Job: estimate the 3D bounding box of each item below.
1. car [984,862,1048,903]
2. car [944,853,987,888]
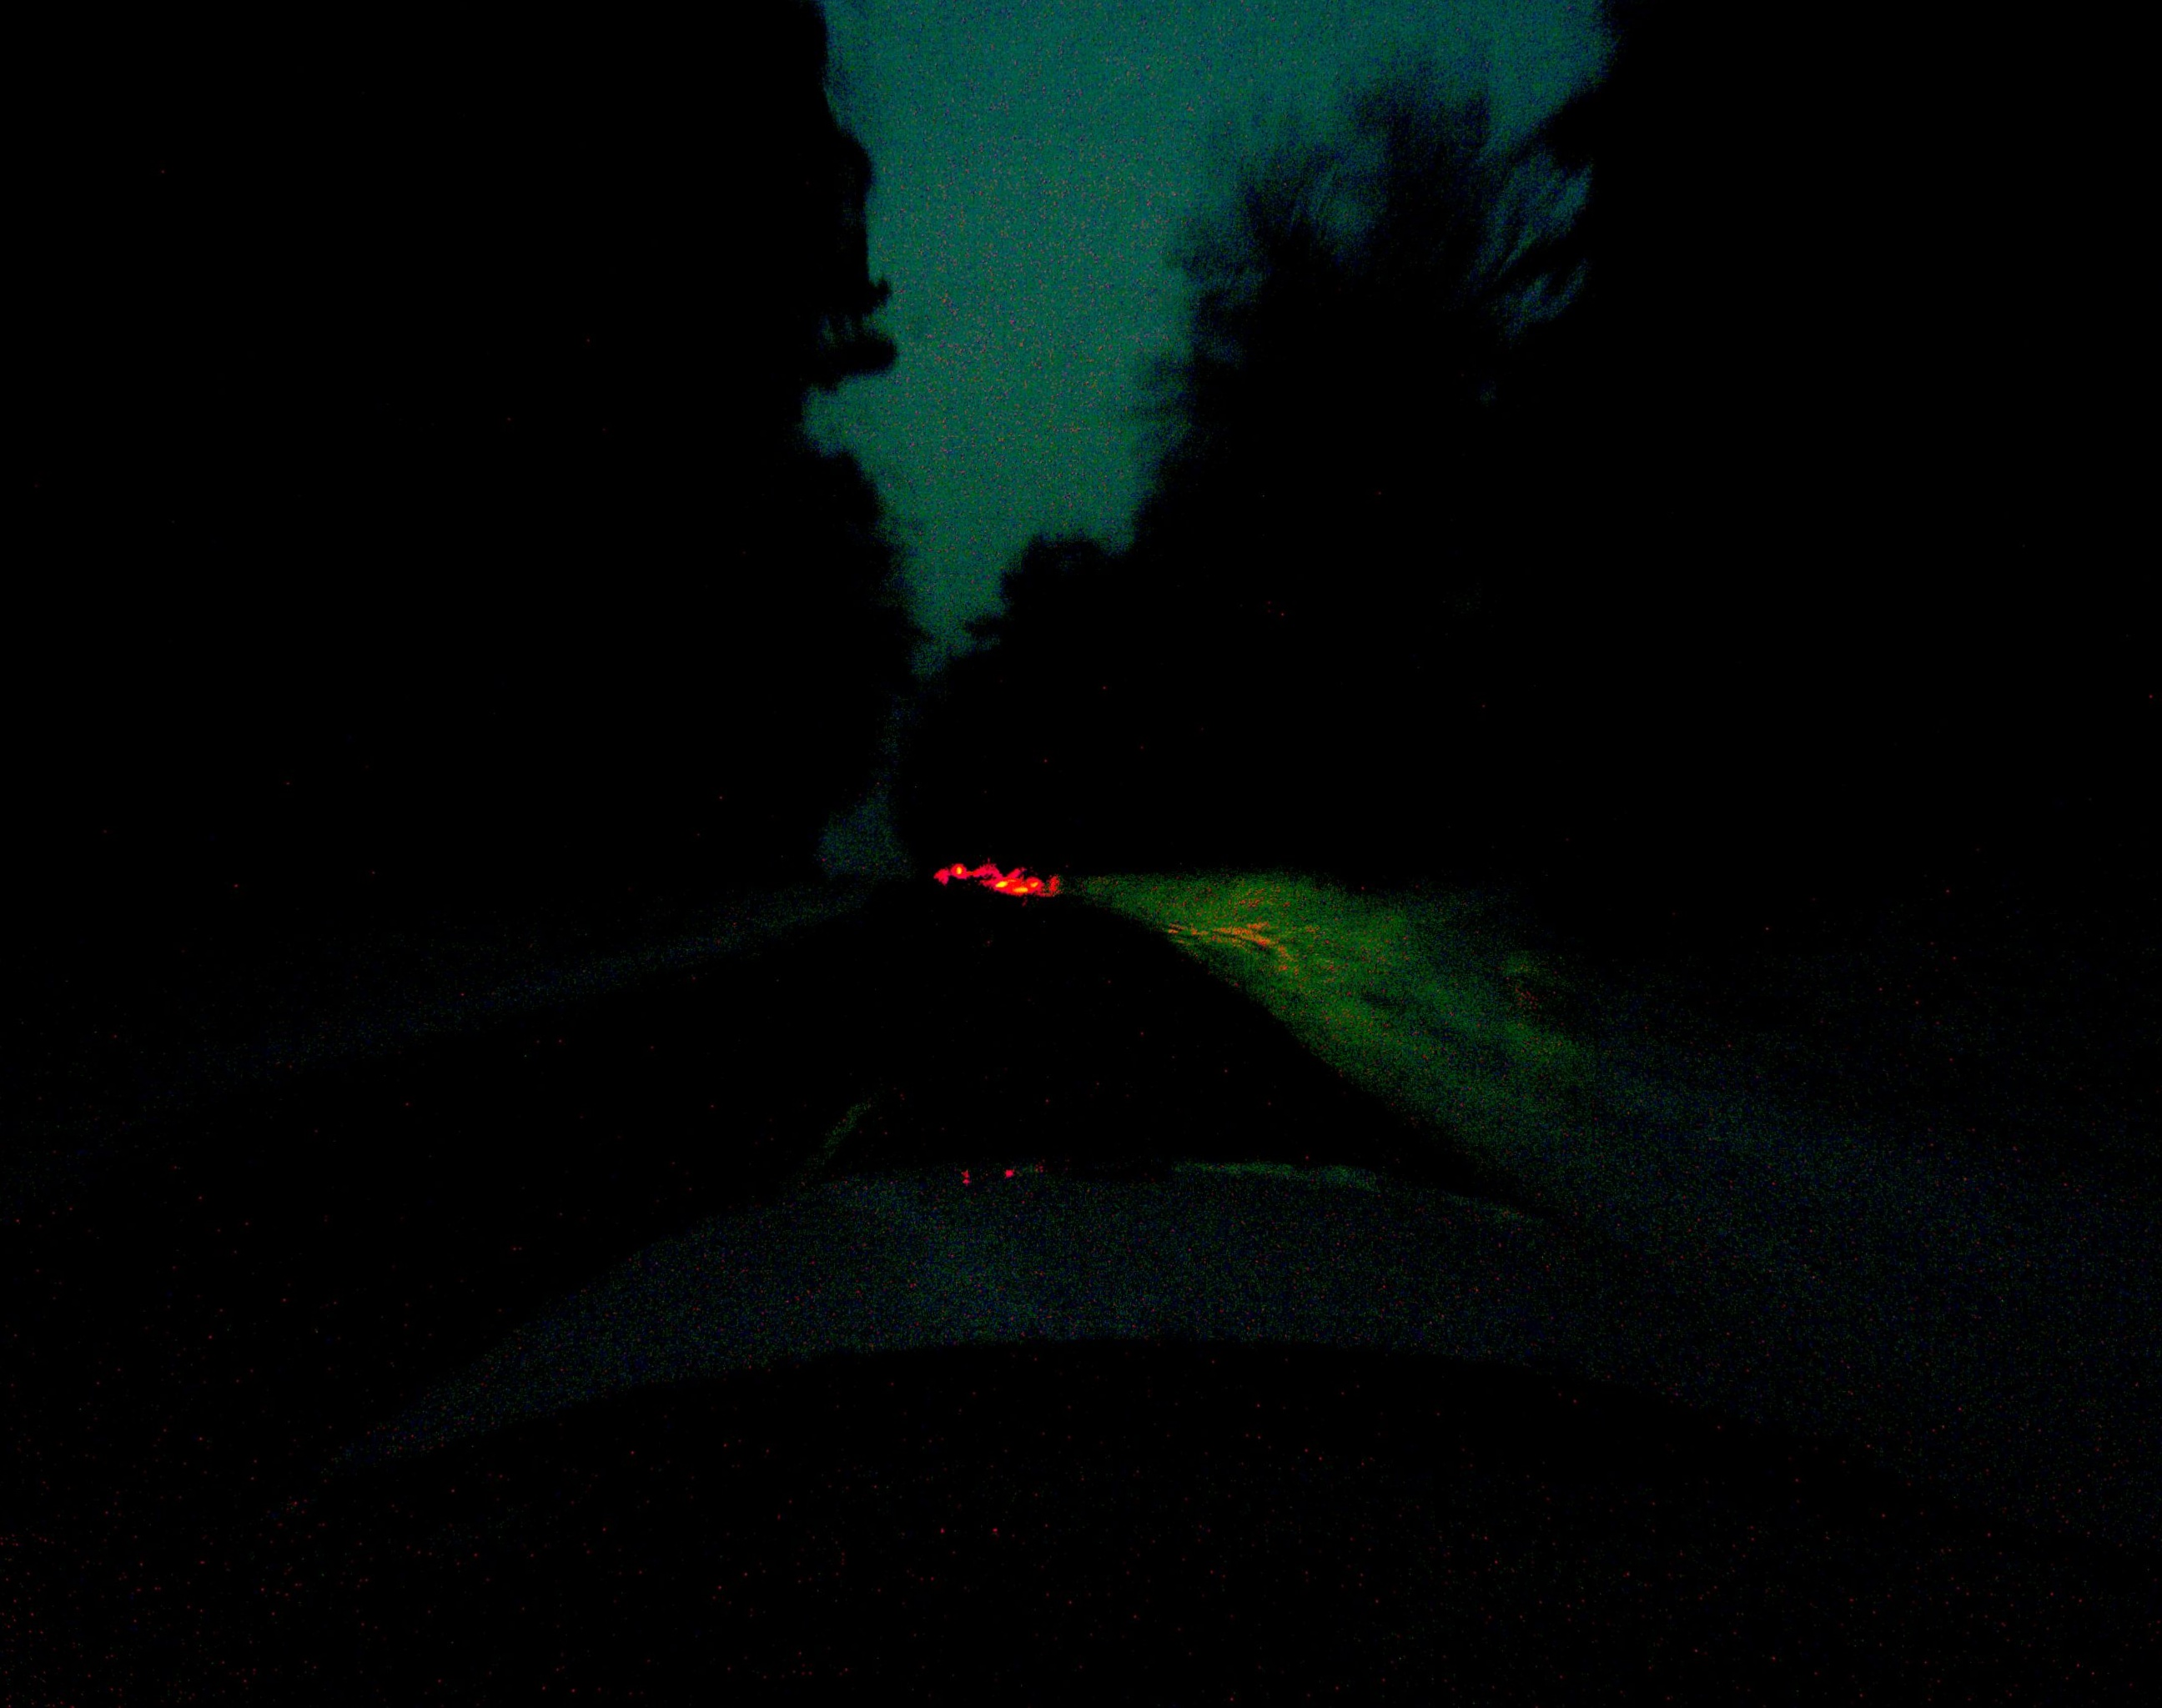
[{"bbox_3d":[-2.605,1.102,31.683,1.946,1.381,3.984,4,-3,-11],"label":"car"},{"bbox_3d":[-6.890,1.010,48.238,1.996,1.783,3.981,6,-4,-13],"label":"car"}]
